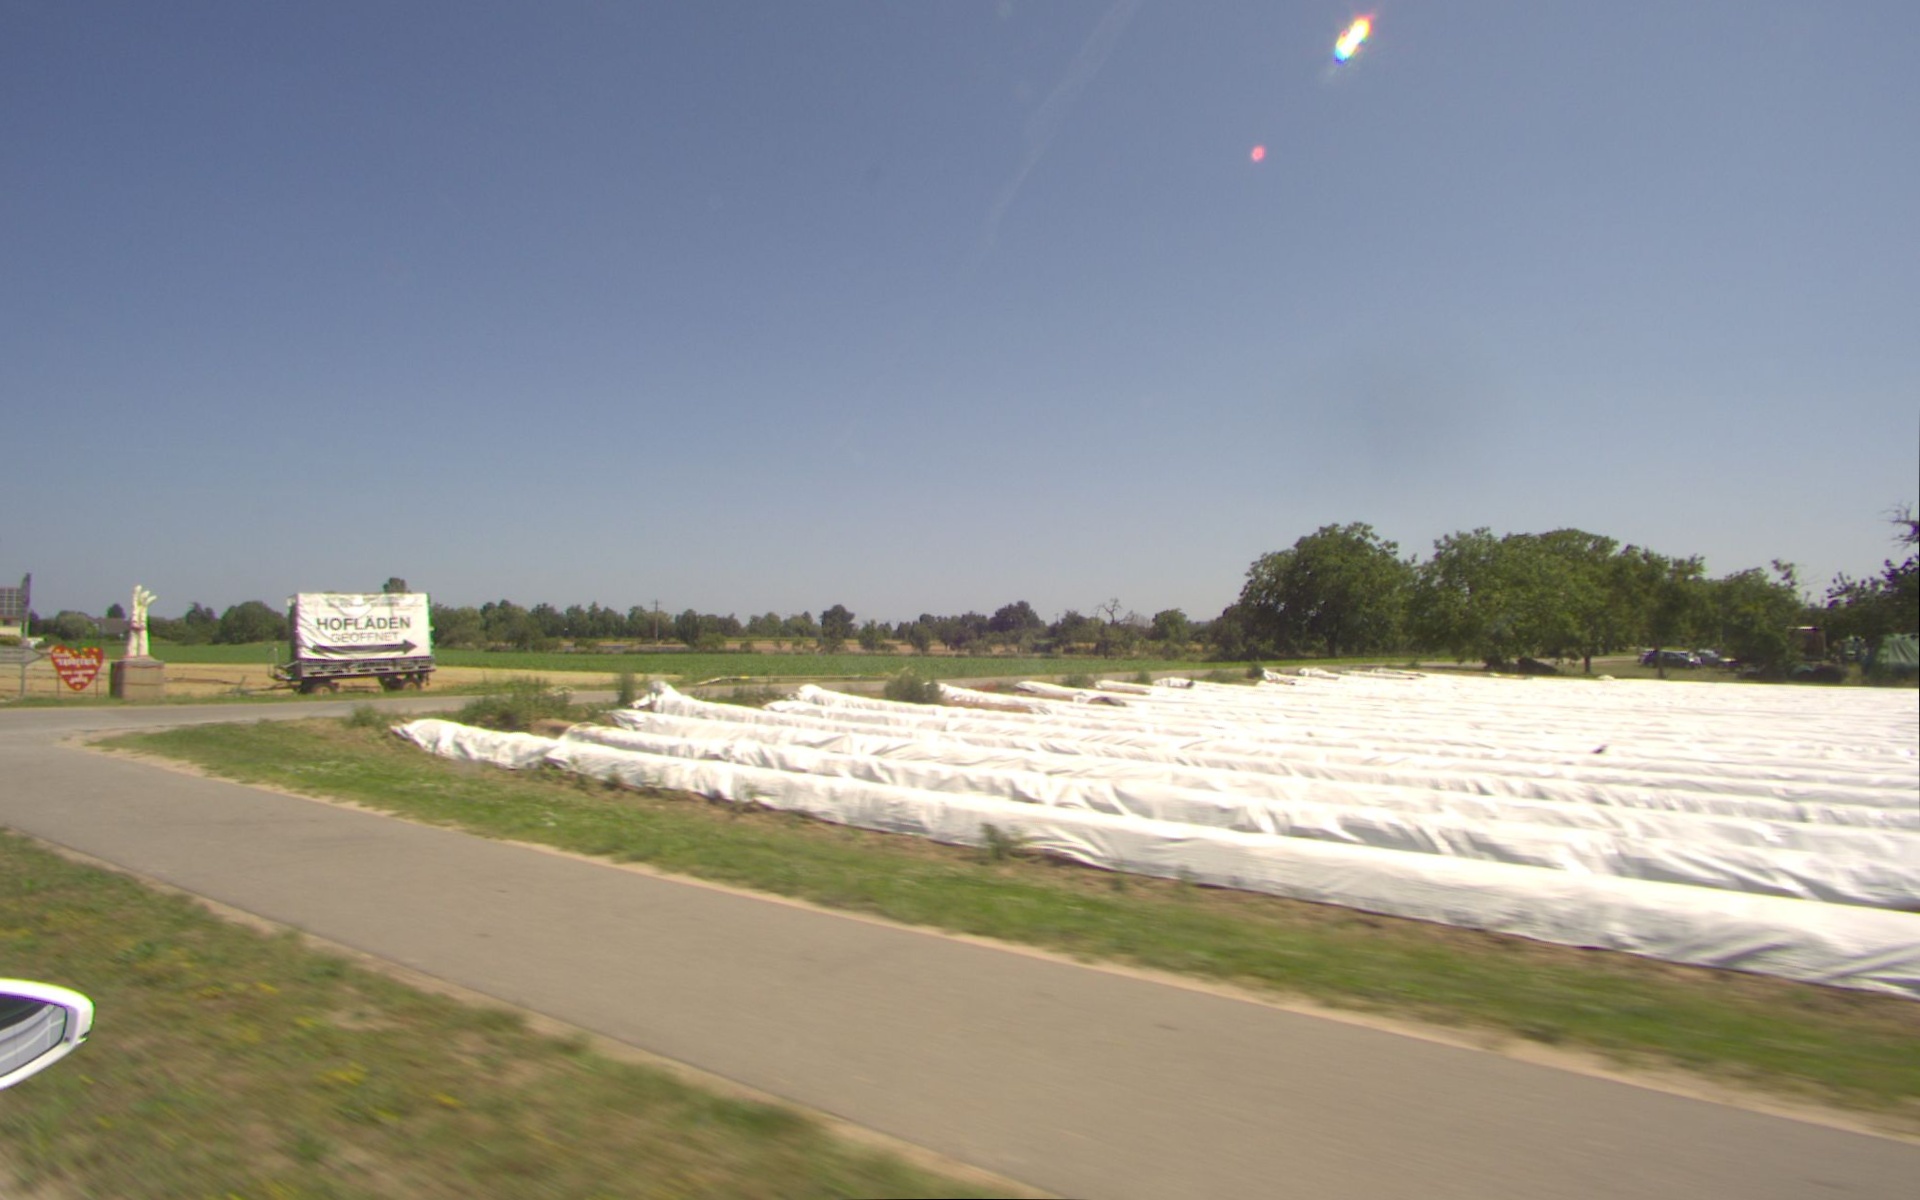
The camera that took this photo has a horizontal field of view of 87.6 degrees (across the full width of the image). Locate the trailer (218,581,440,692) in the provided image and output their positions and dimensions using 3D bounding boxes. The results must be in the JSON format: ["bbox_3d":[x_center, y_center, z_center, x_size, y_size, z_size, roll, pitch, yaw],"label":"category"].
[{"bbox_3d":[-18.535,1.082,29.629,1.979,2.989,5.251,-3,-3,42],"label":"trailer"}]

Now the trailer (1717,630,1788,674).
[{"bbox_3d":[62.594,4.126,79.020,7.367,3.334,3.231,3,-4,-42],"label":"trailer"}]

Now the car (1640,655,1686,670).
[{"bbox_3d":[61.798,5.492,88.023,3.240,1.213,1.287,-1,-2,39],"label":"car"}]

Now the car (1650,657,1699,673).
[{"bbox_3d":[58.834,5.318,82.452,3.240,1.213,1.287,-1,-2,39],"label":"car"}]

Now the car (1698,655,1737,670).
[{"bbox_3d":[66.497,5.489,87.917,2.751,1.213,1.287,-1,-2,39],"label":"car"}]

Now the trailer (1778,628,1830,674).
[{"bbox_3d":[82.497,5.008,98.008,3.116,4.273,7.400,-1,-3,35],"label":"trailer"}]

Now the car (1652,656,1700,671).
[{"bbox_3d":[60.857,5.400,85.138,3.240,1.213,1.287,-1,-2,39],"label":"car"}]
